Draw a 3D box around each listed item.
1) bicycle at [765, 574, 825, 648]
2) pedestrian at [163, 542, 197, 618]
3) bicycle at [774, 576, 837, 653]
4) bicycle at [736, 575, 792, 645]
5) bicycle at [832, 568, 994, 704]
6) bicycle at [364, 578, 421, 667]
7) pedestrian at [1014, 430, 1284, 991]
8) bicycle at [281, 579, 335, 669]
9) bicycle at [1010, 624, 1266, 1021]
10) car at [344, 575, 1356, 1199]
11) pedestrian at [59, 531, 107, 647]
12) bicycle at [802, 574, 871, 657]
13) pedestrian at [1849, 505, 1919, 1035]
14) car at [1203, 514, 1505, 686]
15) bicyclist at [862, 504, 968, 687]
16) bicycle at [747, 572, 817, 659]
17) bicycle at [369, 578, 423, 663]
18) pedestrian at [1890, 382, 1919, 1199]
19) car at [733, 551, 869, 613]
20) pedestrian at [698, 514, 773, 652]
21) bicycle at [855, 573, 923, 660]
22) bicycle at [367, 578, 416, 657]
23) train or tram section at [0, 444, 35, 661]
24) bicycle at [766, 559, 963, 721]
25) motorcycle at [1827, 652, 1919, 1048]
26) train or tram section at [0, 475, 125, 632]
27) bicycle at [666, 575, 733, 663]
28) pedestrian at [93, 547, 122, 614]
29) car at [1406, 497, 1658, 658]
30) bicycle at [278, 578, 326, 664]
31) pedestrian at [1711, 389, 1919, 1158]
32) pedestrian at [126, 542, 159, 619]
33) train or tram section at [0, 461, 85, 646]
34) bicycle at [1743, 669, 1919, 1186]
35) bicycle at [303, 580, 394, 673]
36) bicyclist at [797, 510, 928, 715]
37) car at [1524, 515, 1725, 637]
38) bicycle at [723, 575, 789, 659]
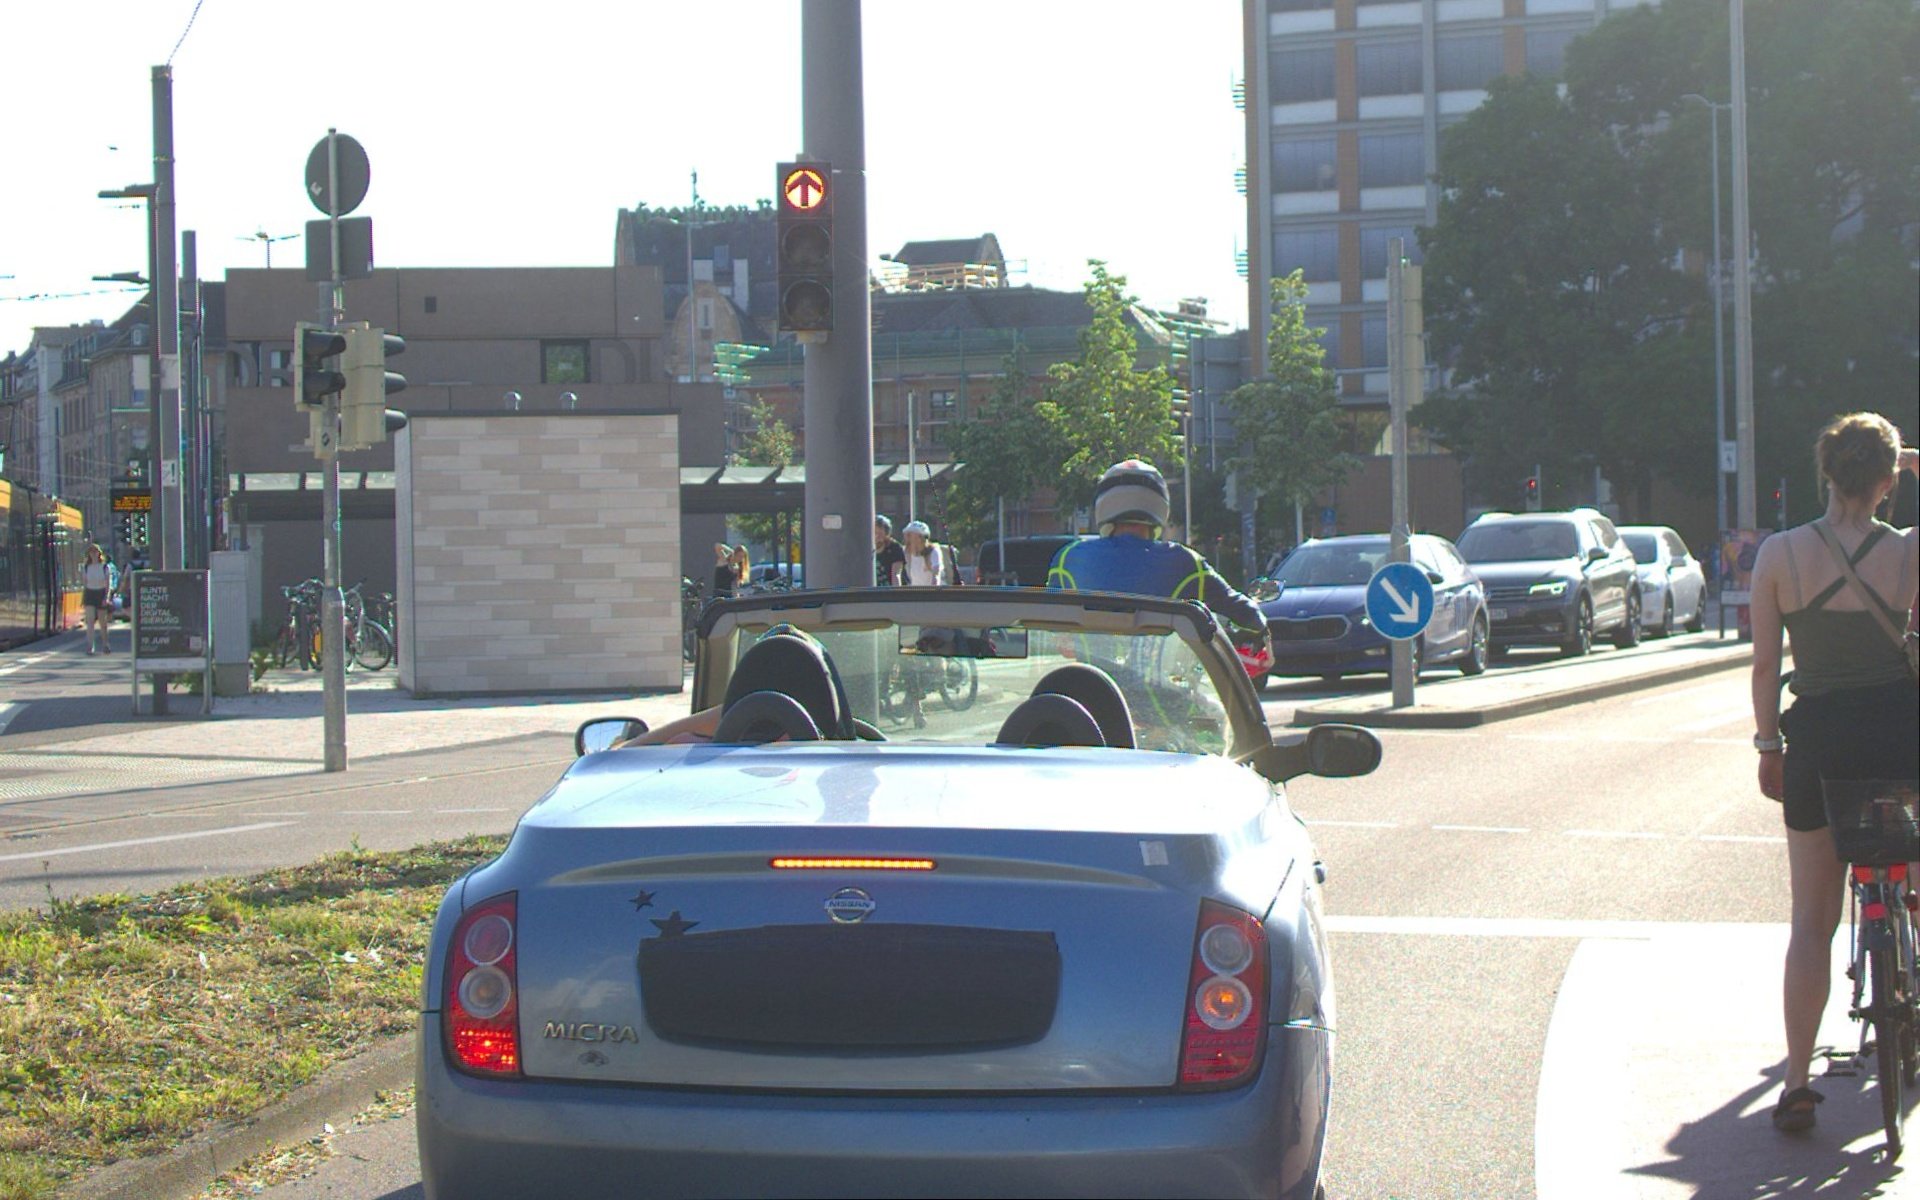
[{"bbox_3d":[-2.561,0.162,53.243,0.606,1.111,1.897,1,1,-12],"label":"bicycle"},{"bbox_3d":[-18.068,-0.470,79.632,0.637,1.743,0.736,-1,1,-19],"label":"pedestrian"},{"bbox_3d":[-2.312,0.208,51.272,0.606,1.111,1.897,1,1,-12],"label":"bicycle"},{"bbox_3d":[-3.246,0.157,56.749,0.606,1.111,1.897,1,1,-12],"label":"bicycle"},{"bbox_3d":[-0.407,0.310,31.466,0.675,1.176,2.181,-1,1,22],"label":"bicycle"},{"bbox_3d":[-7.339,0.278,44.401,0.606,1.111,1.897,1,1,-12],"label":"bicycle"},{"bbox_3d":[0.674,0.360,11.965,0.833,1.862,0.920,1,0,8],"label":"pedestrian"},{"bbox_3d":[-8.365,0.301,44.070,0.606,1.111,1.897,1,1,-12],"label":"bicycle"},{"bbox_3d":[0.658,0.699,11.902,0.608,1.187,2.414,1,1,9],"label":"bicycle"},{"bbox_3d":[0.033,0.678,7.693,1.660,1.436,4.153,1,1,6],"label":"car"},{"bbox_3d":[-13.426,-0.172,52.636,0.637,1.743,0.572,-1,1,-19],"label":"pedestrian"},{"bbox_3d":[-1.720,0.204,47.584,0.606,1.111,1.897,1,1,-12],"label":"bicycle"},{"bbox_3d":[3.133,0.512,10.814,0.588,1.593,1.024,1,0,17],"label":"pedestrian"},{"bbox_3d":[3.915,-0.013,33.633,1.739,1.568,3.919,1,1,25],"label":"car"},{"bbox_3d":[-0.408,-0.046,31.487,0.709,1.651,0.742,-1,1,22],"label":"bicyclist"},{"bbox_3d":[-2.356,0.191,45.264,0.606,1.111,1.897,1,1,-12],"label":"bicycle"},{"bbox_3d":[-7.628,0.267,46.464,0.606,1.111,1.897,1,1,-12],"label":"bicycle"},{"bbox_3d":[2.490,0.456,7.397,0.806,1.862,0.956,1,0,8],"label":"pedestrian"},{"bbox_3d":[-4.122,-0.456,88.688,1.640,1.555,3.599,-2,1,-39],"label":"car"},{"bbox_3d":[-3.056,-0.232,46.763,0.900,1.862,0.687,1,0,-12],"label":"pedestrian"},{"bbox_3d":[-0.946,0.207,45.567,0.606,1.111,1.897,1,1,-10],"label":"bicycle"},{"bbox_3d":[-8.330,0.245,50.339,0.606,1.111,1.897,1,1,-12],"label":"bicycle"},{"bbox_3d":[-18.166,-0.851,60.679,2.880,3.584,12.203,1,1,-12],"label":"train or tram section"},{"bbox_3d":[-0.772,0.313,28.852,0.675,1.246,2.454,-3,0,22],"label":"bicycle"},{"bbox_3d":[3.174,0.746,11.080,0.614,1.094,2.358,1,1,17],"label":"motorcycle"},{"bbox_3d":[-22.577,-1.140,84.596,3.039,3.584,12.055,1,1,-9],"label":"train or tram section"},{"bbox_3d":[-3.430,0.237,45.123,0.606,1.111,1.897,1,1,-12],"label":"bicycle"},{"bbox_3d":[-22.295,-0.513,89.926,0.604,1.743,0.832,-1,1,-8],"label":"pedestrian"},{"bbox_3d":[6.674,-0.287,39.724,1.763,1.700,4.525,-2,0,24],"label":"car"},{"bbox_3d":[-8.799,0.276,45.995,0.606,1.111,1.897,1,1,-11],"label":"bicycle"},{"bbox_3d":[2.287,0.415,8.784,0.659,1.862,0.872,1,0,15],"label":"pedestrian"},{"bbox_3d":[-18.793,-0.442,79.036,0.637,1.743,0.736,-1,1,-19],"label":"pedestrian"},{"bbox_3d":[-20.509,-0.992,72.670,3.011,3.584,12.203,1,1,-10],"label":"train or tram section"},{"bbox_3d":[2.369,0.783,8.977,0.564,1.147,1.948,1,1,14],"label":"bicycle"},{"bbox_3d":[-7.545,0.318,42.465,0.607,1.111,1.896,1,1,5],"label":"bicycle"},{"bbox_3d":[-0.812,0.099,28.781,0.709,1.651,0.900,-3,0,22],"label":"bicyclist"},{"bbox_3d":[9.001,-0.347,46.330,1.697,1.555,3.974,-1,1,25],"label":"car"},{"bbox_3d":[-2.807,0.225,47.196,0.606,1.111,1.897,1,1,-12],"label":"bicycle"}]
